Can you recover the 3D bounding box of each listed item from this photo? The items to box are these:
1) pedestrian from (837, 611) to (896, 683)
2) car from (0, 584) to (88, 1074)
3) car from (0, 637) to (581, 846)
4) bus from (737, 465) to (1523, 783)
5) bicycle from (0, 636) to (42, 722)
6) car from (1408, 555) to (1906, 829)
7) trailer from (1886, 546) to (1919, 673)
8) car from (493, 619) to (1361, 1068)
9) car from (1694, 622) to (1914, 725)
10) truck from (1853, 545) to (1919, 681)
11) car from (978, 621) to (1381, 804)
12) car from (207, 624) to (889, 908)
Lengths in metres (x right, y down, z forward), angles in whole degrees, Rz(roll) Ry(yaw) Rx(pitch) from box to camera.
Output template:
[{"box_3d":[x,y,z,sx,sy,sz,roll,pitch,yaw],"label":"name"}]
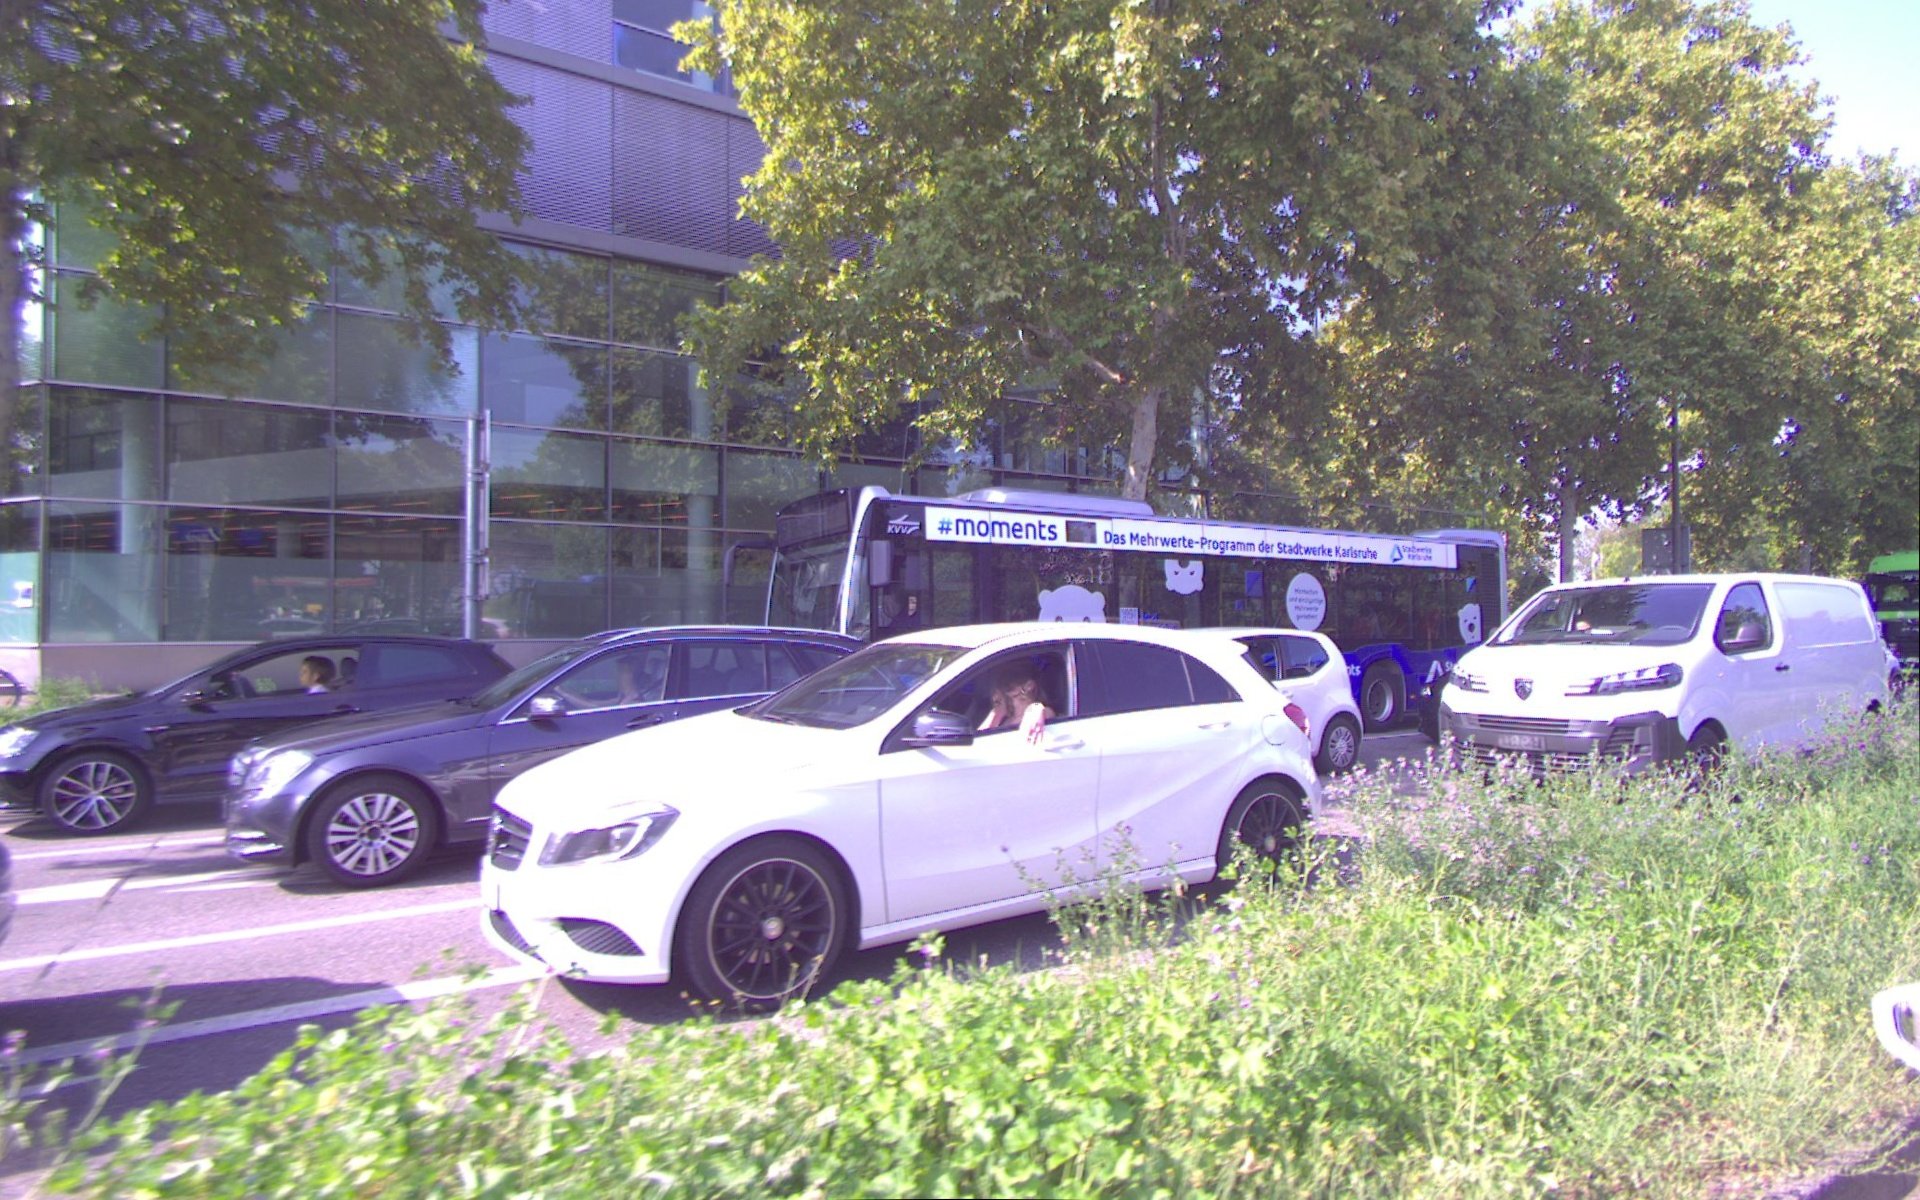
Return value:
[{"box_3d":[-1.821,0.902,19.532,1.021,1.367,0.495,1,-1,-32],"label":"pedestrian"},{"box_3d":[-4.746,0.698,2.240,3.953,1.515,1.636,1,-3,-31],"label":"car"},{"box_3d":[-5.499,1.036,8.610,3.956,1.409,1.733,1,-2,-32],"label":"car"},{"box_3d":[3.192,0.367,14.117,12.171,3.120,2.577,1,-1,-31],"label":"bus"},{"box_3d":[-13.520,1.054,13.323,1.866,1.125,0.652,1,-1,-30],"label":"bicycle"},{"box_3d":[6.377,0.715,9.032,4.835,1.888,1.902,1,-3,-32],"label":"car"},{"box_3d":[35.314,0.412,33.671,13.656,3.871,2.620,1,-3,-32],"label":"trailer"},{"box_3d":[-0.034,0.836,5.021,4.037,1.420,1.701,0,-3,-31],"label":"car"},{"box_3d":[14.440,1.177,17.135,4.093,1.549,1.686,1,-1,-32],"label":"car"},{"box_3d":[29.652,0.433,30.151,5.825,3.869,2.595,1,-3,-32],"label":"truck"},{"box_3d":[2.213,0.997,9.928,3.778,1.486,1.698,1,-3,-32],"label":"car"},{"box_3d":[-2.628,0.936,6.967,3.955,1.461,1.698,1,-3,-32],"label":"car"}]
